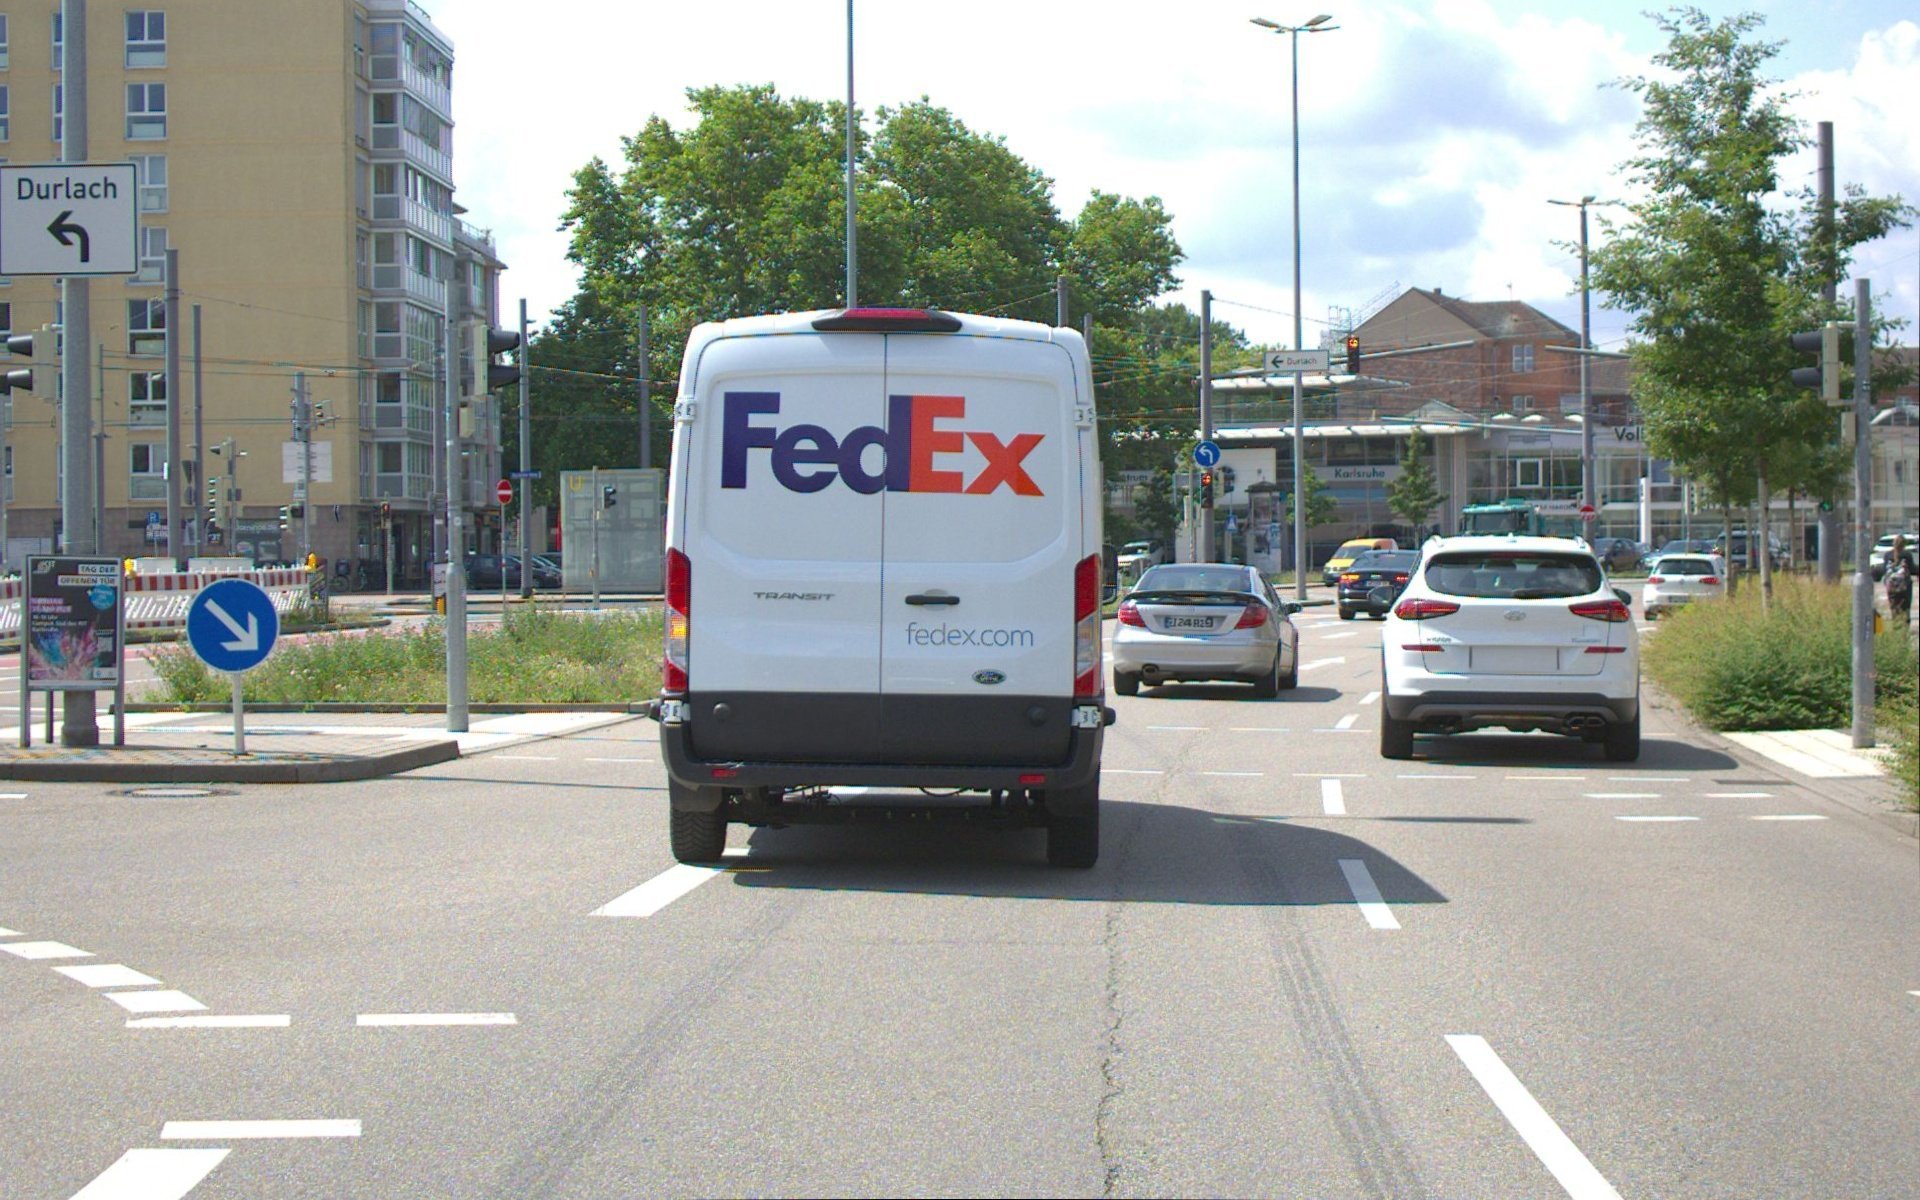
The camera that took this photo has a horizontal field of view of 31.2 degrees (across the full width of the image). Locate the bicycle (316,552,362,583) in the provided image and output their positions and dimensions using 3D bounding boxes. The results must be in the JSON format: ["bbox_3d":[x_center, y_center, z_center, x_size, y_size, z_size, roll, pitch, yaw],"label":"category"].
[{"bbox_3d":[-23.361,-1.234,129.311,2.133,1.143,0.510,1,0,44],"label":"bicycle"}]

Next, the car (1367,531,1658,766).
[{"bbox_3d":[4.130,0.300,26.271,1.881,1.635,4.232,0,1,5],"label":"car"}]

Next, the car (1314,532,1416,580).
[{"bbox_3d":[15.642,-1.705,132.702,1.721,1.794,4.730,-1,1,37],"label":"car"}]

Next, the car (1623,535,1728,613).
[{"bbox_3d":[15.583,-0.592,74.758,1.883,1.635,3.954,0,1,17],"label":"car"}]

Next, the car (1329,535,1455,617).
[{"bbox_3d":[9.096,-0.529,72.091,1.929,1.635,4.789,0,1,15],"label":"car"}]

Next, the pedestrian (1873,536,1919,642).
[{"bbox_3d":[14.228,-0.167,52.008,0.756,1.584,0.761,1,0,16],"label":"pedestrian"}]

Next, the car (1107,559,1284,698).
[{"bbox_3d":[2.570,0.262,36.772,1.742,1.387,4.179,0,1,6],"label":"car"}]

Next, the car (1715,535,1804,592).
[{"bbox_3d":[23.817,-1.092,102.332,1.883,1.635,3.952,0,1,24],"label":"car"}]

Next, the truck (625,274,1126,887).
[{"bbox_3d":[-0.379,-0.117,17.849,2.137,2.631,5.917,1,1,0],"label":"truck"}]

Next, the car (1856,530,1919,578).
[{"bbox_3d":[32.522,-1.597,118.844,1.884,1.635,3.950,0,1,33],"label":"car"}]

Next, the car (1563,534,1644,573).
[{"bbox_3d":[24.610,-1.777,131.356,1.656,1.464,4.146,0,1,32],"label":"car"}]

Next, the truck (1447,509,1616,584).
[{"bbox_3d":[22.221,-2.100,133.319,2.891,2.842,8.774,0,1,36],"label":"truck"}]
